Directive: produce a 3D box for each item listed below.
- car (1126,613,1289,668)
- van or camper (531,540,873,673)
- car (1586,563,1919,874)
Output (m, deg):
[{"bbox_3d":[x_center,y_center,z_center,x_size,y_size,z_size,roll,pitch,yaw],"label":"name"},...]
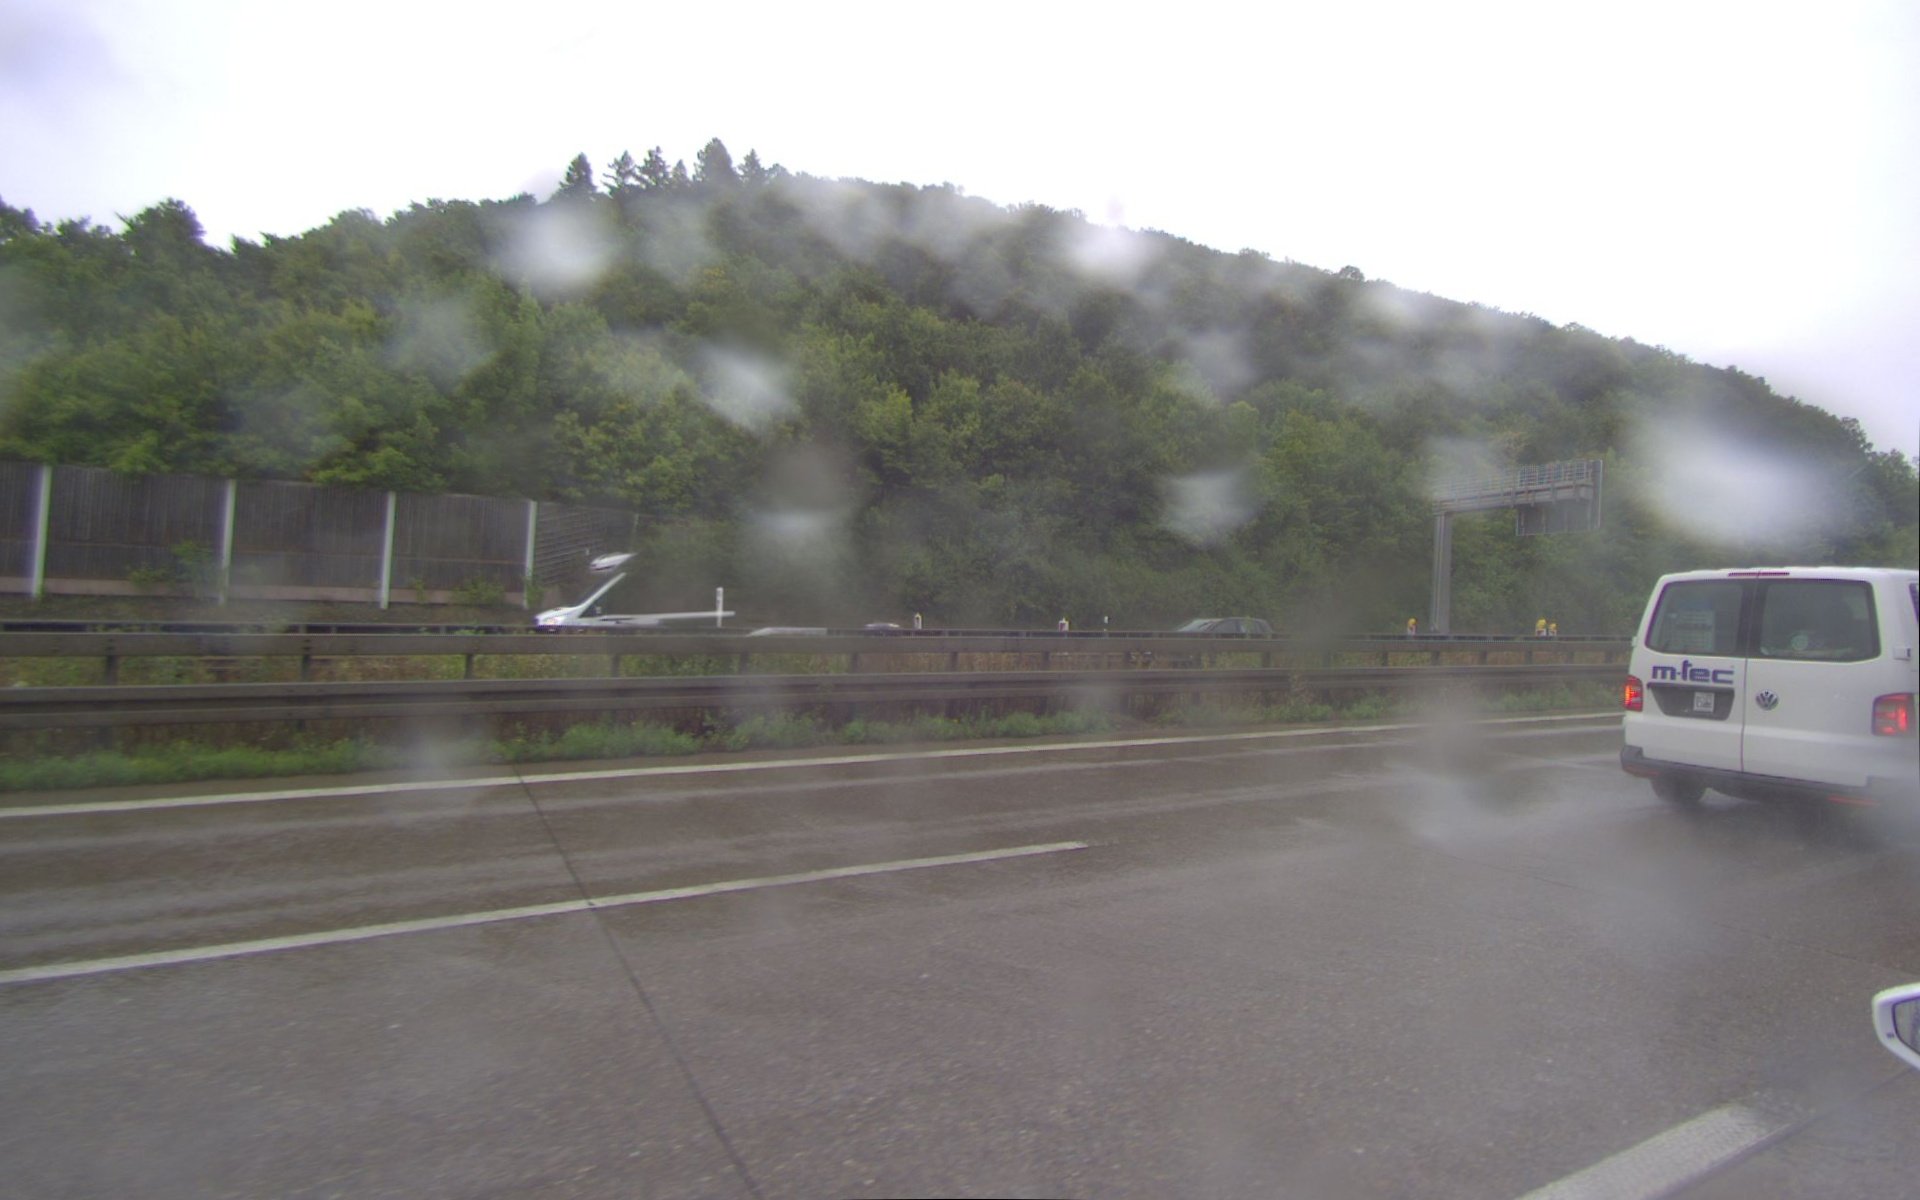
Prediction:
[{"bbox_3d":[6.769,1.074,27.342,4.294,1.321,1.743,1,1,-31],"label":"car"},{"bbox_3d":[-5.960,0.218,23.699,7.408,2.754,2.545,1,-1,-30],"label":"van or camper"},{"bbox_3d":[7.524,0.785,8.285,4.983,1.919,1.891,1,-1,-30],"label":"car"}]
